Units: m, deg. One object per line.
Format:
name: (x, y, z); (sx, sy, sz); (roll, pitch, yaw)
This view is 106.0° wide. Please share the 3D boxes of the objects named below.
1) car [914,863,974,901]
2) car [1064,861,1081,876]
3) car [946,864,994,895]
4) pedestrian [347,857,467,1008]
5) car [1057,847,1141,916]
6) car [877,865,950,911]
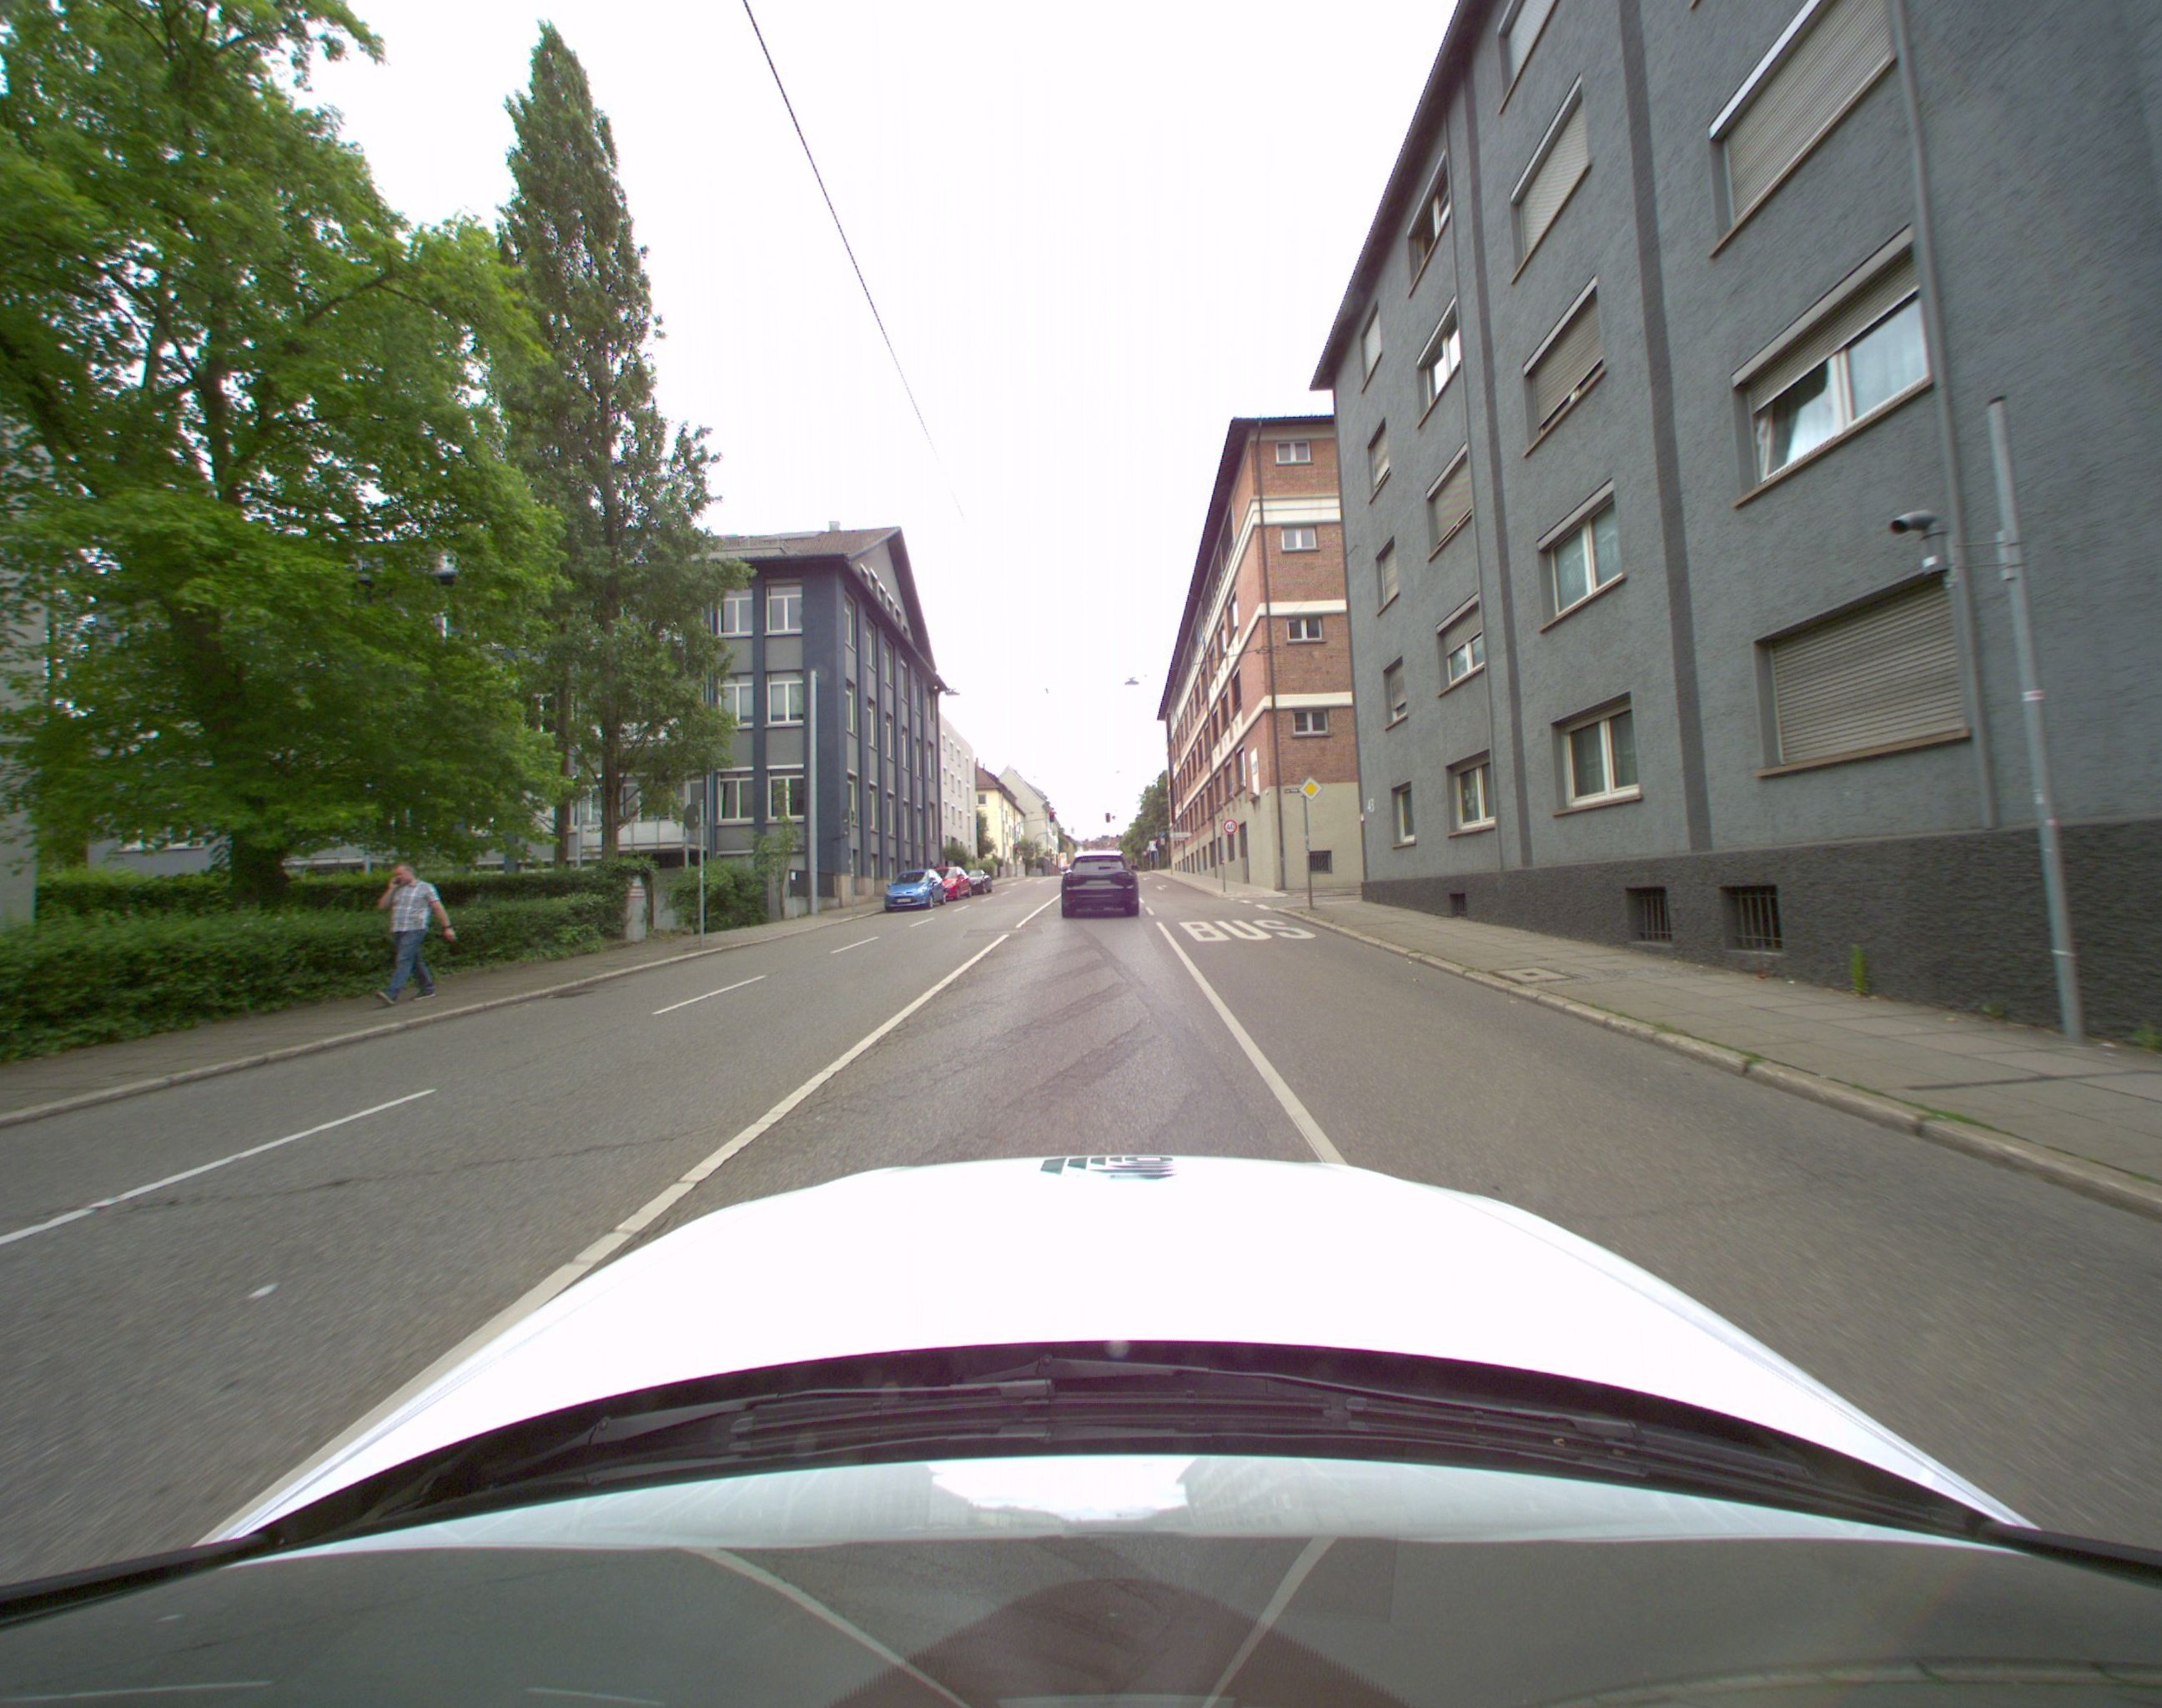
car: (-6.051, 1.213, 36.405); (1.707, 1.456, 3.992); (-4, 0, 3)
car: (-1.111, 1.910, 108.690); (1.889, 1.691, 4.004); (-5, 0, 4)
car: (-5.676, 1.286, 42.131); (1.708, 1.341, 3.906); (-4, 0, 2)
pedestrian: (-9.038, 1.014, 10.963); (0.879, 1.950, 0.868); (0, 0, 1)
car: (0.379, 0.685, 22.026); (2.019, 1.641, 4.352); (-1, 0, -2)
car: (-6.246, 1.241, 30.850); (1.708, 1.423, 3.991); (-4, 0, 2)
